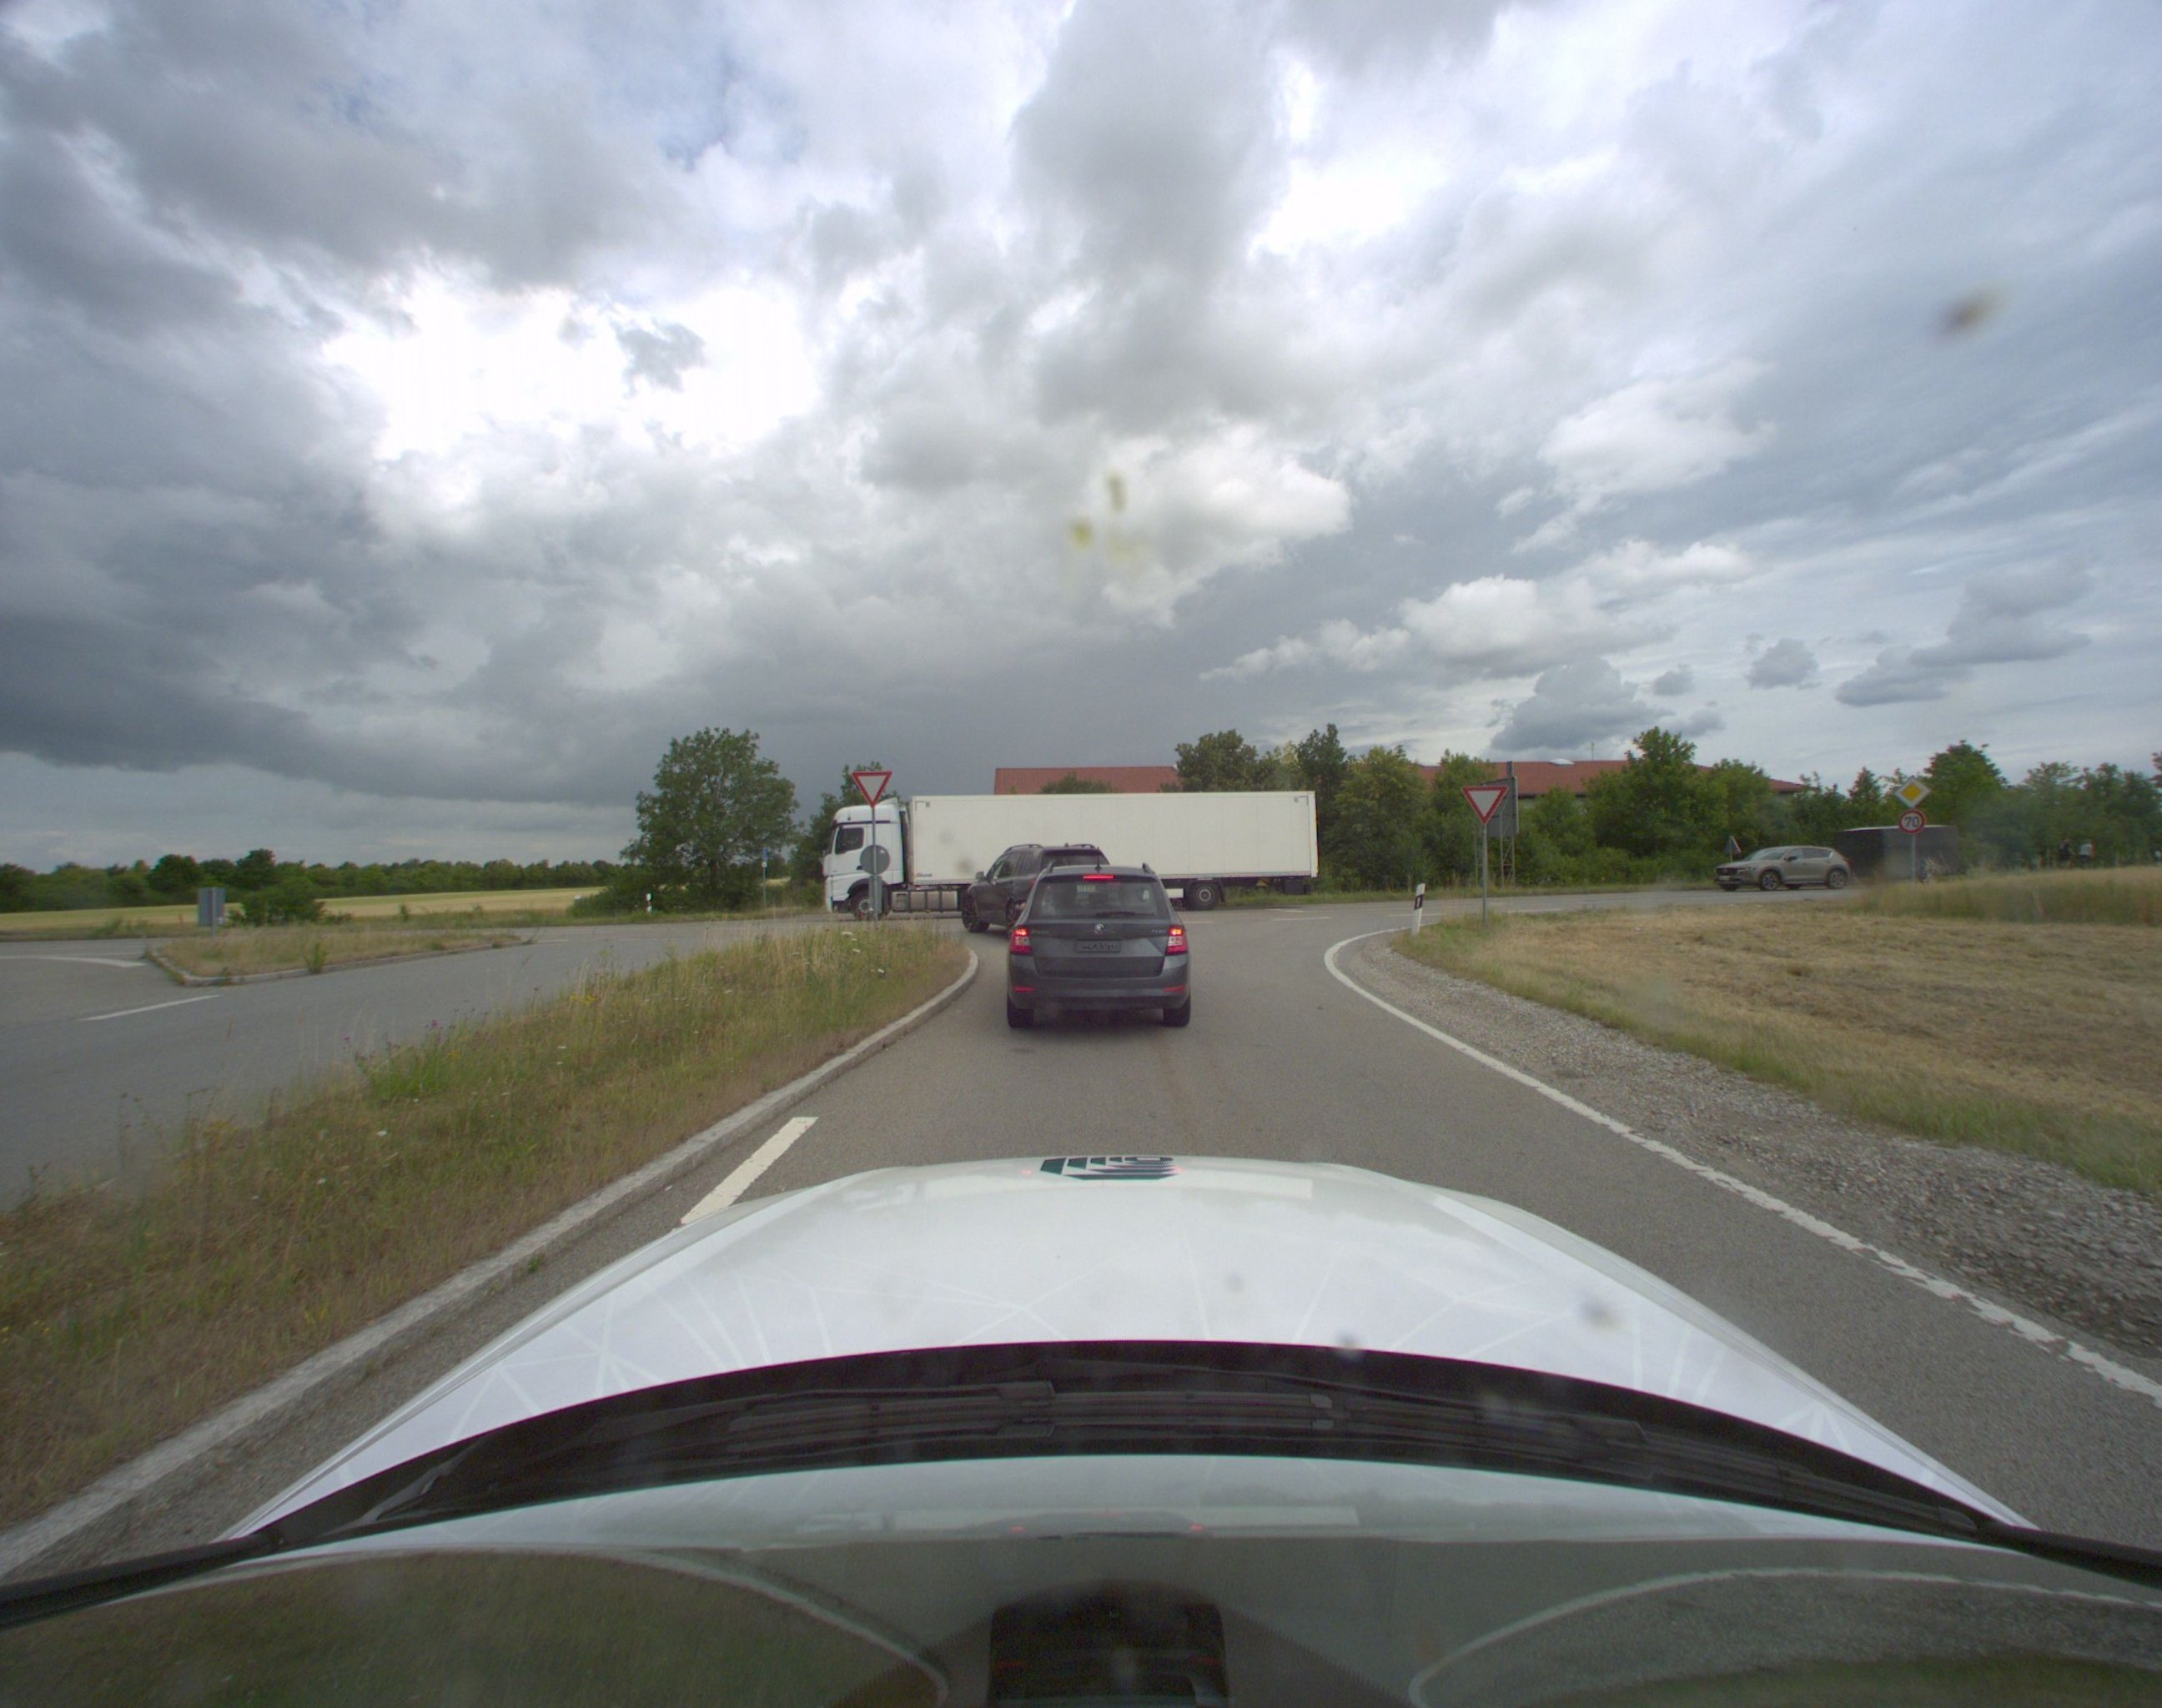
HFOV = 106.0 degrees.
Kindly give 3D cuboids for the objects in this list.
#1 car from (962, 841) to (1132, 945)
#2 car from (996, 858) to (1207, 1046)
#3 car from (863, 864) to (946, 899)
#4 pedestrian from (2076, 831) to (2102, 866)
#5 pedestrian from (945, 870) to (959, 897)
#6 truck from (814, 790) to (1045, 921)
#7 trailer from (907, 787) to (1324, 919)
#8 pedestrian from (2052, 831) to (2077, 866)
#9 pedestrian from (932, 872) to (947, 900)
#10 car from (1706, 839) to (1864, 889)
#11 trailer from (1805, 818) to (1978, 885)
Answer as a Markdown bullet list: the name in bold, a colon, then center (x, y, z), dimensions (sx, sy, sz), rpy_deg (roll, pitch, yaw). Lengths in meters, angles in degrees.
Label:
- **car**: center (-0.879, 0.738, 16.567), dimensions (2.002, 1.774, 4.609), rpy_deg (-1, -2, -22)
- **car**: center (0.145, 0.788, 8.369), dimensions (1.671, 1.462, 3.706), rpy_deg (-1, 0, -1)
- **car**: center (-11.088, 1.753, 51.070), dimensions (4.851, 2.013, 2.357), rpy_deg (-2, 0, 34)
- **pedestrian**: center (48.770, -0.269, 39.397), dimensions (0.626, 1.682, 0.528), rpy_deg (-2, 0, -10)
- **pedestrian**: center (-8.274, 1.878, 52.304), dimensions (0.578, 1.682, 0.569), rpy_deg (-2, 0, 21)
- **truck**: center (-4.992, 0.073, 27.866), dimensions (7.273, 4.015, 3.122), rpy_deg (-2, -2, -6)
- **trailer**: center (1.183, -0.042, 28.513), dimensions (13.822, 4.015, 3.122), rpy_deg (-2, -2, -6)
- **pedestrian**: center (48.630, -0.260, 40.270), dimensions (0.626, 1.682, 0.528), rpy_deg (-2, 0, -10)
- **pedestrian**: center (-8.799, 1.978, 50.573), dimensions (0.523, 1.726, 0.646), rpy_deg (-2, 0, 33)
- **car**: center (26.360, 0.390, 30.567), dimensions (4.461, 1.682, 1.994), rpy_deg (-2, -2, -8)
- **trailer**: center (30.863, -0.057, 31.112), dimensions (4.378, 2.293, 2.411), rpy_deg (-2, -2, -7)
